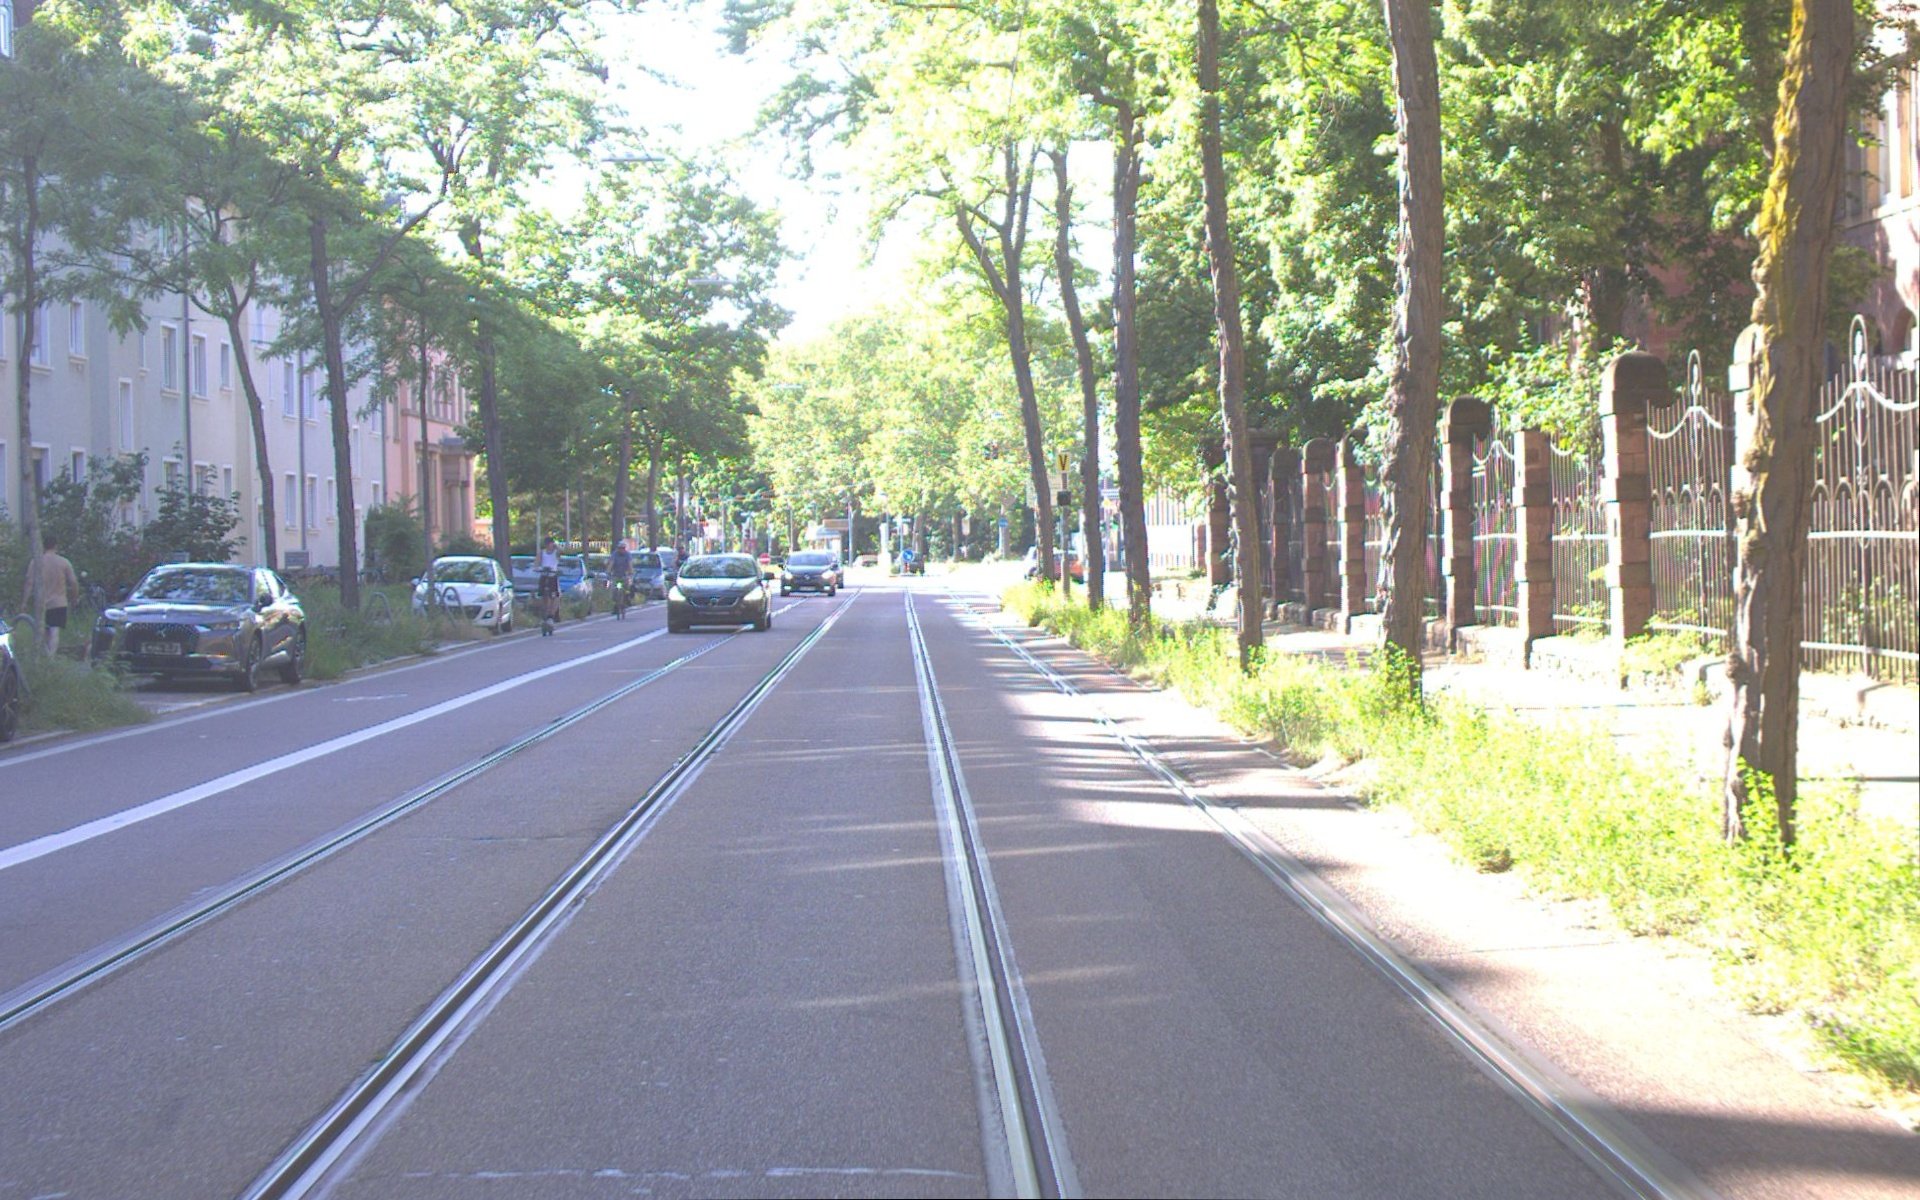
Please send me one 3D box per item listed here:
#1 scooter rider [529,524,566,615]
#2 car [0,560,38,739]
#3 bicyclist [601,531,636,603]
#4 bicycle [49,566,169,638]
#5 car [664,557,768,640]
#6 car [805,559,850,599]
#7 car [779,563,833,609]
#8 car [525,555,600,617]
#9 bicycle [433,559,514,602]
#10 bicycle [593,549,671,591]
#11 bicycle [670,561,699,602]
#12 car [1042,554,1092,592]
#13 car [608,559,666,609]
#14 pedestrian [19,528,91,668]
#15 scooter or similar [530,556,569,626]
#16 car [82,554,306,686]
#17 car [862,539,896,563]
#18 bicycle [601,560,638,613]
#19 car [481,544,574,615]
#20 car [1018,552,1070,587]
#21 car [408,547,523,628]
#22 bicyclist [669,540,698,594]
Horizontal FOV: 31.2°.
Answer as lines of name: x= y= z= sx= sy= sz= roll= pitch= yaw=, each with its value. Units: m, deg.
scooter rider: x=-7.887 y=-0.581 z=65.781 sx=0.496 sy=1.694 sz=0.787 roll=-4 pitch=1 yaw=-1
car: x=-8.974 y=0.437 z=28.244 sx=1.757 sy=1.506 sz=4.439 roll=0 pitch=1 yaw=-2
bicyclist: x=-7.919 y=-0.770 z=79.713 sx=0.626 sy=1.633 sz=0.940 roll=-3 pitch=1 yaw=-1
bicycle: x=-14.475 y=0.033 z=58.488 sx=1.906 sy=1.173 sz=0.522 roll=1 pitch=1 yaw=-3
car: x=-4.462 y=-0.055 z=63.464 sx=1.757 sy=1.434 sz=4.524 roll=-1 pitch=1 yaw=-2
car: x=-5.142 y=-0.828 z=133.522 sx=1.699 sy=1.466 sz=4.072 roll=-1 pitch=1 yaw=-2
car: x=-4.945 y=-0.456 z=111.029 sx=1.699 sy=1.434 sz=4.072 roll=-1 pitch=1 yaw=-2
car: x=-9.883 y=-0.356 z=85.636 sx=1.560 sy=1.452 sz=3.931 roll=2 pitch=1 yaw=-3
bicycle: x=-14.432 y=-0.590 z=102.017 sx=2.285 sy=1.194 sz=0.559 roll=2 pitch=2 yaw=6
bicycle: x=-9.960 y=-0.909 z=104.470 sx=2.285 sy=1.194 sz=0.559 roll=2 pitch=2 yaw=6
bicycle: x=-8.363 y=-0.561 z=104.427 sx=0.694 sy=1.173 sz=1.913 roll=-3 pitch=1 yaw=-1
car: x=4.659 y=-1.188 z=150.149 sx=1.839 sy=1.649 sz=3.580 roll=-1 pitch=1 yaw=-3
car: x=-10.715 y=-0.548 z=114.221 sx=1.745 sy=1.564 sz=4.070 roll=2 pitch=1 yaw=-4
pedestrian: x=-11.761 y=-0.034 z=44.675 sx=0.691 sy=1.795 sz=0.813 roll=-1 pitch=1 yaw=-1
scooter or similar: x=-7.857 y=-0.180 z=65.822 sx=0.520 sy=1.293 sz=1.377 roll=-4 pitch=1 yaw=-1
car: x=-9.121 y=0.203 z=41.230 sx=1.817 sy=1.480 sz=4.206 roll=0 pitch=1 yaw=-1
car: x=-5.503 y=-3.316 z=232.688 sx=1.942 sy=1.605 sz=4.001 roll=-1 pitch=1 yaw=-6
bicycle: x=-7.892 y=-0.313 z=79.754 sx=0.626 sy=1.173 sz=1.913 roll=-3 pitch=1 yaw=-1
car: x=-9.547 y=-0.477 z=76.114 sx=1.687 sy=1.480 sz=3.760 roll=2 pitch=1 yaw=-2
car: x=3.990 y=-1.457 z=163.110 sx=1.942 sy=1.605 sz=4.001 roll=-1 pitch=1 yaw=-6
car: x=-9.658 y=-0.268 z=67.413 sx=1.702 sy=1.480 sz=4.079 roll=2 pitch=1 yaw=-1
bicyclist: x=-8.395 y=-1.006 z=104.370 sx=0.709 sy=1.601 sz=0.865 roll=-3 pitch=1 yaw=-1
